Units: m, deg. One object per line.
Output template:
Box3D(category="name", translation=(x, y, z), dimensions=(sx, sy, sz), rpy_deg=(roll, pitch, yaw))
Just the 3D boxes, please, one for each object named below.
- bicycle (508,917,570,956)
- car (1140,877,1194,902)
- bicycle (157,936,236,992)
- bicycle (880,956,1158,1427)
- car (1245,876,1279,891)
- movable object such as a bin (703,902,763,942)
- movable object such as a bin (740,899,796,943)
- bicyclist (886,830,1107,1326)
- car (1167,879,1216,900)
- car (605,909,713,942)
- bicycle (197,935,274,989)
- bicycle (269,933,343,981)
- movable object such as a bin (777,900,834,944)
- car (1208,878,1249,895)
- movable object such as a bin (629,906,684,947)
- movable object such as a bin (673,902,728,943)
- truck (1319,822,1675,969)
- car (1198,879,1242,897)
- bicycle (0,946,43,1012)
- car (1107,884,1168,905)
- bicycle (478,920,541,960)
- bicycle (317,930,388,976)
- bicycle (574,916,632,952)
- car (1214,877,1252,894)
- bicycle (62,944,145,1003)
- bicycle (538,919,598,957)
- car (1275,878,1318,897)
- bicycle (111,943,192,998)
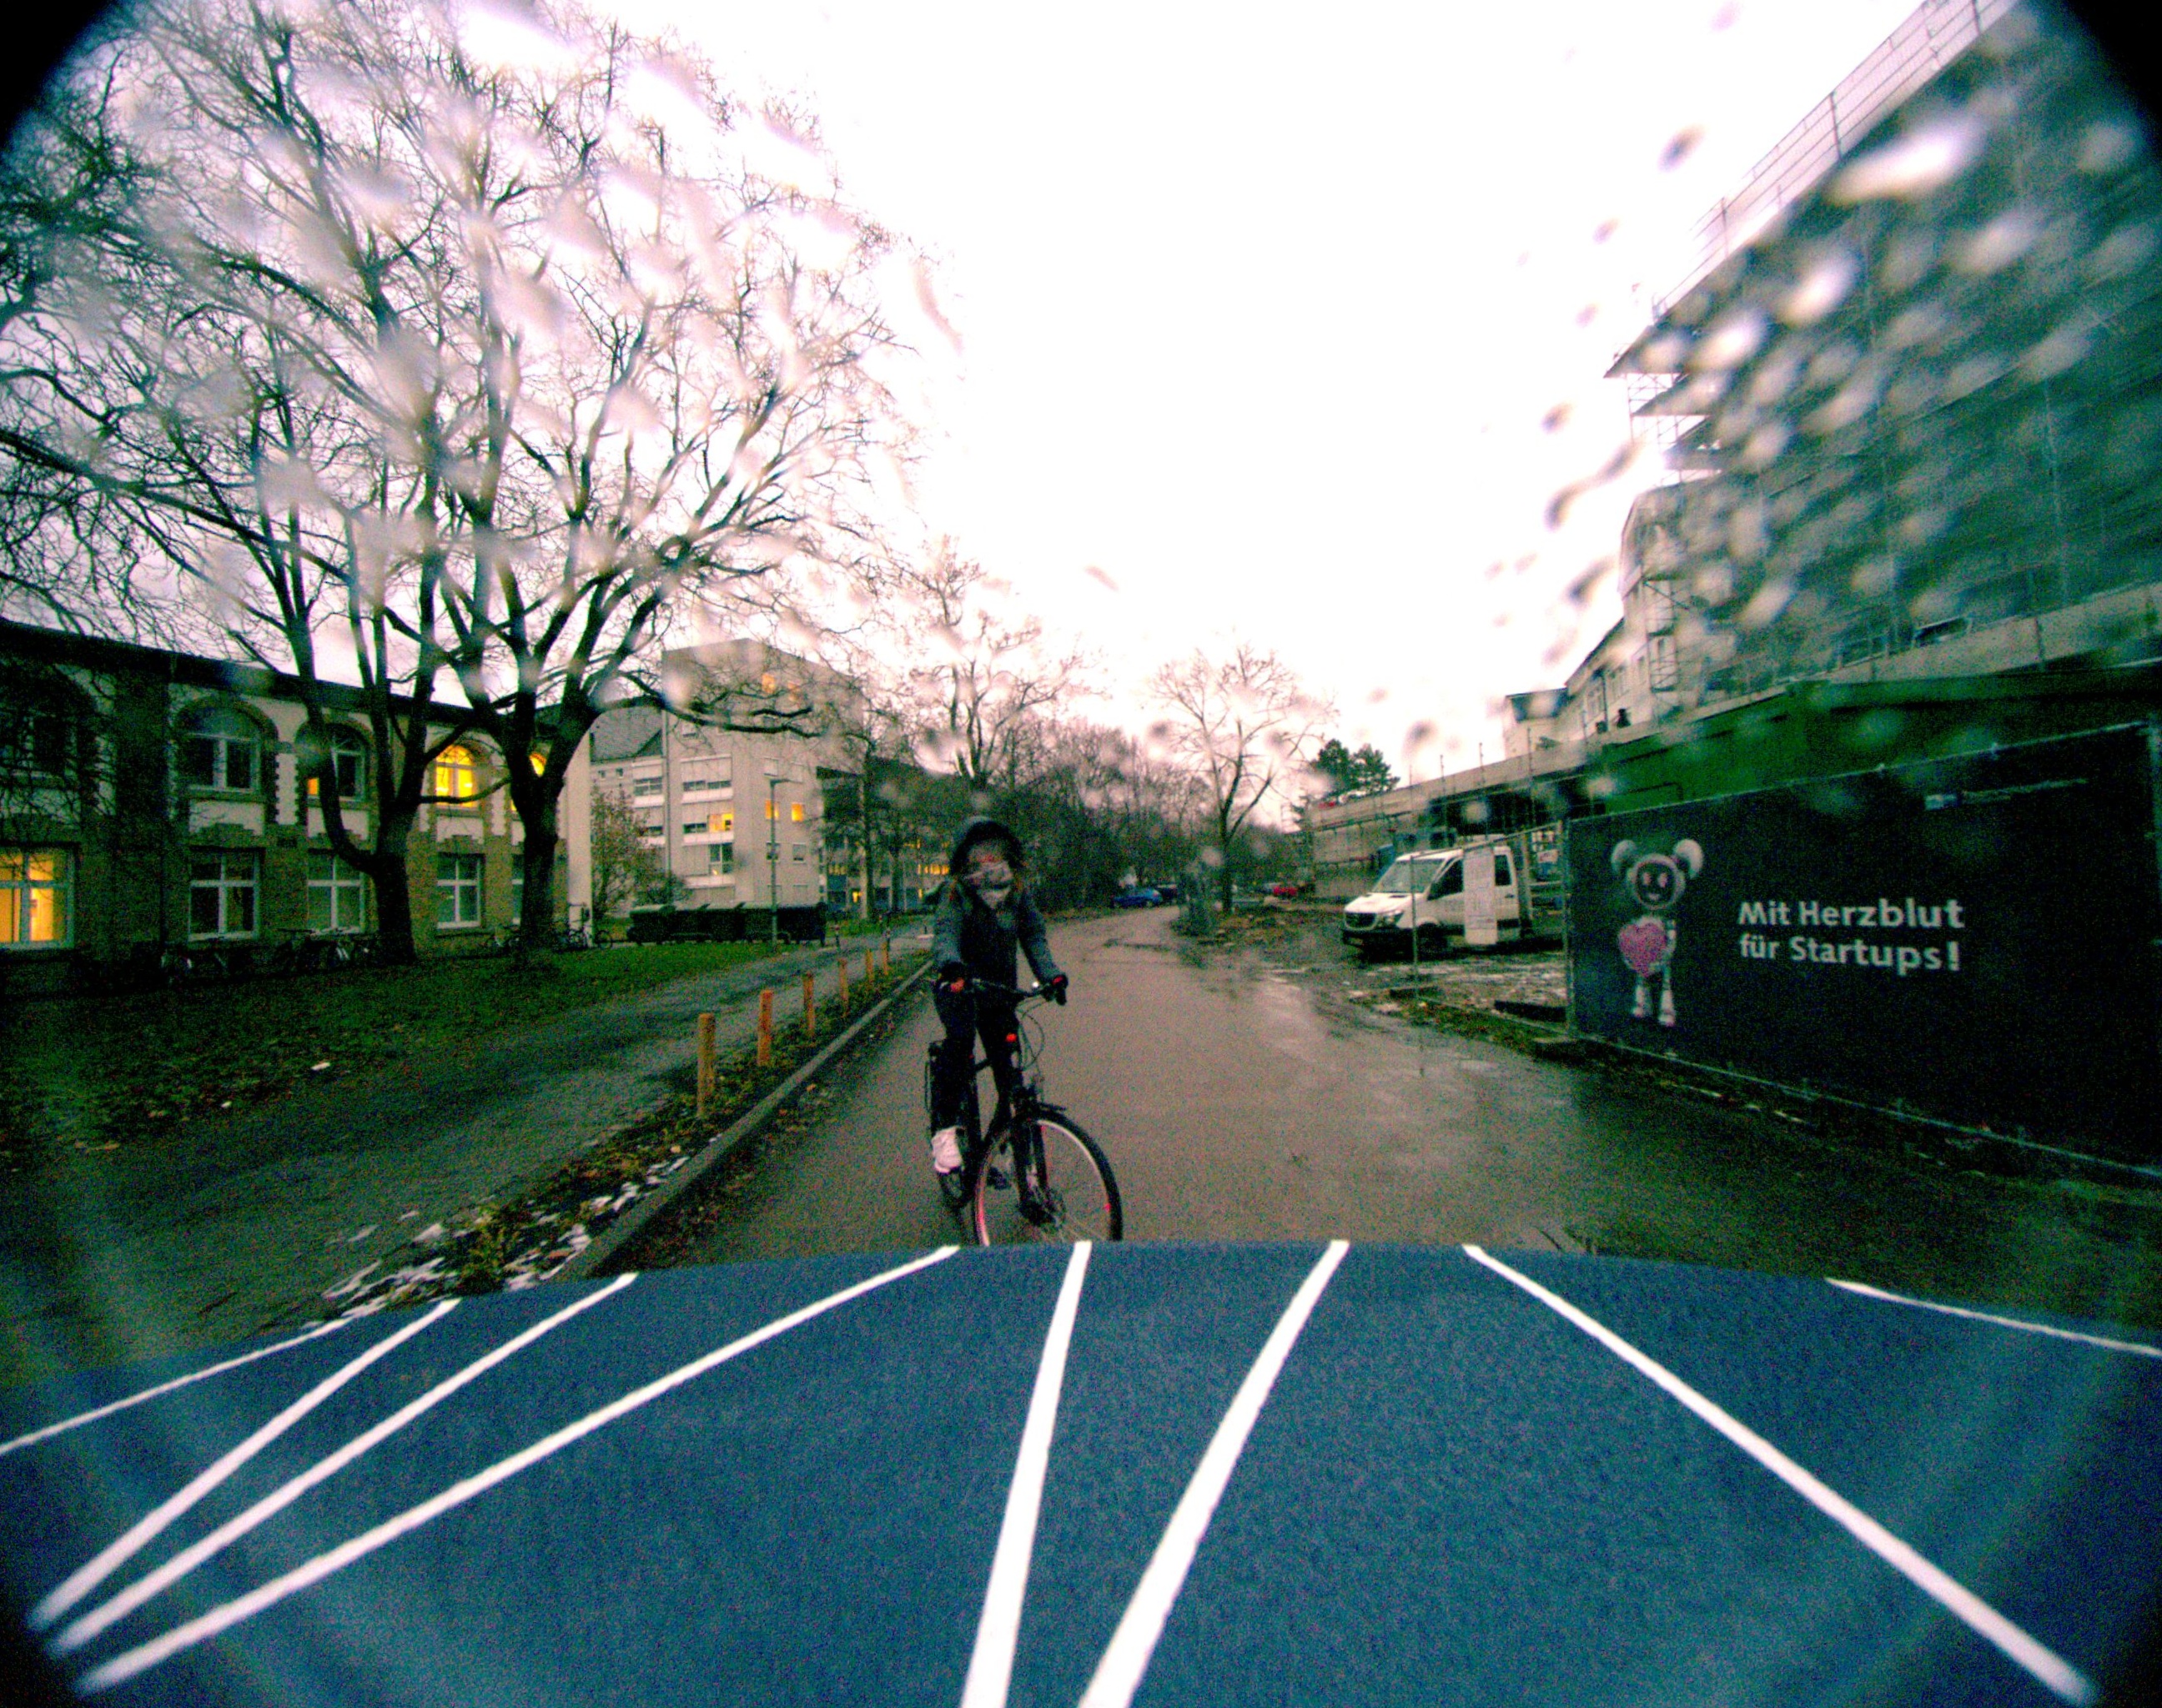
Box3D(category="bicycle", translation=(-17.037, 2.593, 23.881), dimensions=(2.136, 1.150, 0.574), rpy_deg=(-3, -2, 24))
Box3D(category="car", translation=(7.122, 2.964, 63.102), dimensions=(3.991, 1.979, 2.004), rpy_deg=(-3, -2, 24))
Box3D(category="bicycle", translation=(-19.787, 2.433, 16.980), dimensions=(2.136, 1.150, 0.574), rpy_deg=(-3, -2, 24))
Box3D(category="bicycle", translation=(-0.408, 1.097, 3.181), dimensions=(0.731, 1.125, 1.892), rpy_deg=(-1, -2, -18))
Box3D(category="car", translation=(23.599, 3.892, 99.266), dimensions=(3.991, 1.785, 1.805), rpy_deg=(-3, -2, 24))
Box3D(category="movable object such as a bin", translation=(-11.305, 2.219, 24.708), dimensions=(1.435, 1.217, 0.989), rpy_deg=(-2, -2, 17))
Box3D(category="movable object such as a bin", translation=(-9.953, 2.129, 24.182), dimensions=(1.305, 1.306, 0.989), rpy_deg=(-2, -2, 18))
Box3D(category="bicyclist", translation=(-0.384, 0.773, 3.074), dimensions=(0.707, 1.679, 0.770), rpy_deg=(-1, -2, -18))
Box3D(category="car", translation=(10.116, 3.257, 69.626), dimensions=(3.991, 1.785, 1.805), rpy_deg=(-3, -2, 24))
Box3D(category="car", translation=(-19.789, 3.343, 35.818), dimensions=(1.995, 1.273, 4.008), rpy_deg=(-3, -2, 28))
Box3D(category="bicycle", translation=(-19.544, 2.463, 17.552), dimensions=(2.136, 1.150, 0.574), rpy_deg=(-3, -2, 24))
Box3D(category="bicycle", translation=(-19.109, 2.522, 18.718), dimensions=(2.136, 1.085, 0.574), rpy_deg=(-3, -2, 24))
Box3D(category="movable object such as a bin", translation=(-8.594, 2.101, 23.753), dimensions=(1.322, 1.309, 1.064), rpy_deg=(-1, -1, 5))
Box3D(category="car", translation=(15.914, 3.496, 81.903), dimensions=(3.991, 1.785, 1.805), rpy_deg=(-3, -2, 24))
Box3D(category="movable object such as a bin", translation=(-14.204, 2.414, 25.421), dimensions=(1.261, 1.306, 0.989), rpy_deg=(-2, -2, 18))
Box3D(category="movable object such as a bin", translation=(-12.642, 2.271, 25.265), dimensions=(1.249, 1.272, 0.989), rpy_deg=(-2, -2, 18))
Box3D(category="truck", translation=(9.019, 0.805, 16.588), dimensions=(7.083, 2.572, 2.131), rpy_deg=(-3, -1, -13))
Box3D(category="car", translation=(14.326, 3.490, 78.406), dimensions=(3.991, 1.651, 2.004), rpy_deg=(-3, -2, 24))
Box3D(category="bicycle", translation=(-20.661, 2.365, 14.505), dimensions=(2.136, 1.150, 0.574), rpy_deg=(-3, -2, 24))
Box3D(category="car", translation=(4.296, 3.097, 57.823), dimensions=(4.172, 1.468, 2.004), rpy_deg=(-2, -5, 21))
Box3D(category="bicycle", translation=(-17.346, 2.605, 23.044), dimensions=(2.136, 1.150, 0.574), rpy_deg=(-3, -2, 24))
Box3D(category="bicycle", translation=(-18.777, 2.528, 19.571), dimensions=(2.136, 1.103, 0.574), rpy_deg=(-3, -2, 24))
Box3D(category="bicycle", translation=(-16.140, 2.695, 25.632), dimensions=(2.136, 1.150, 0.574), rpy_deg=(-3, -2, 24))
Box3D(category="car", translation=(17.933, 3.691, 89.419), dimensions=(3.991, 1.785, 1.805), rpy_deg=(-3, -2, 24))
Box3D(category="bicycle", translation=(-20.310, 2.461, 15.778), dimensions=(2.136, 1.044, 0.574), rpy_deg=(-1, -1, 25))
Box3D(category="bicycle", translation=(-16.772, 2.733, 24.840), dimensions=(2.136, 1.150, 0.574), rpy_deg=(-3, -2, 24))
Box3D(category="car", translation=(18.194, 2.799, 64.073), dimensions=(3.302, 1.513, 1.707), rpy_deg=(-2, -2, 20))
Box3D(category="bicycle", translation=(-20.059, 2.480, 16.381), dimensions=(2.136, 1.011, 0.574), rpy_deg=(-1, -1, 25))
